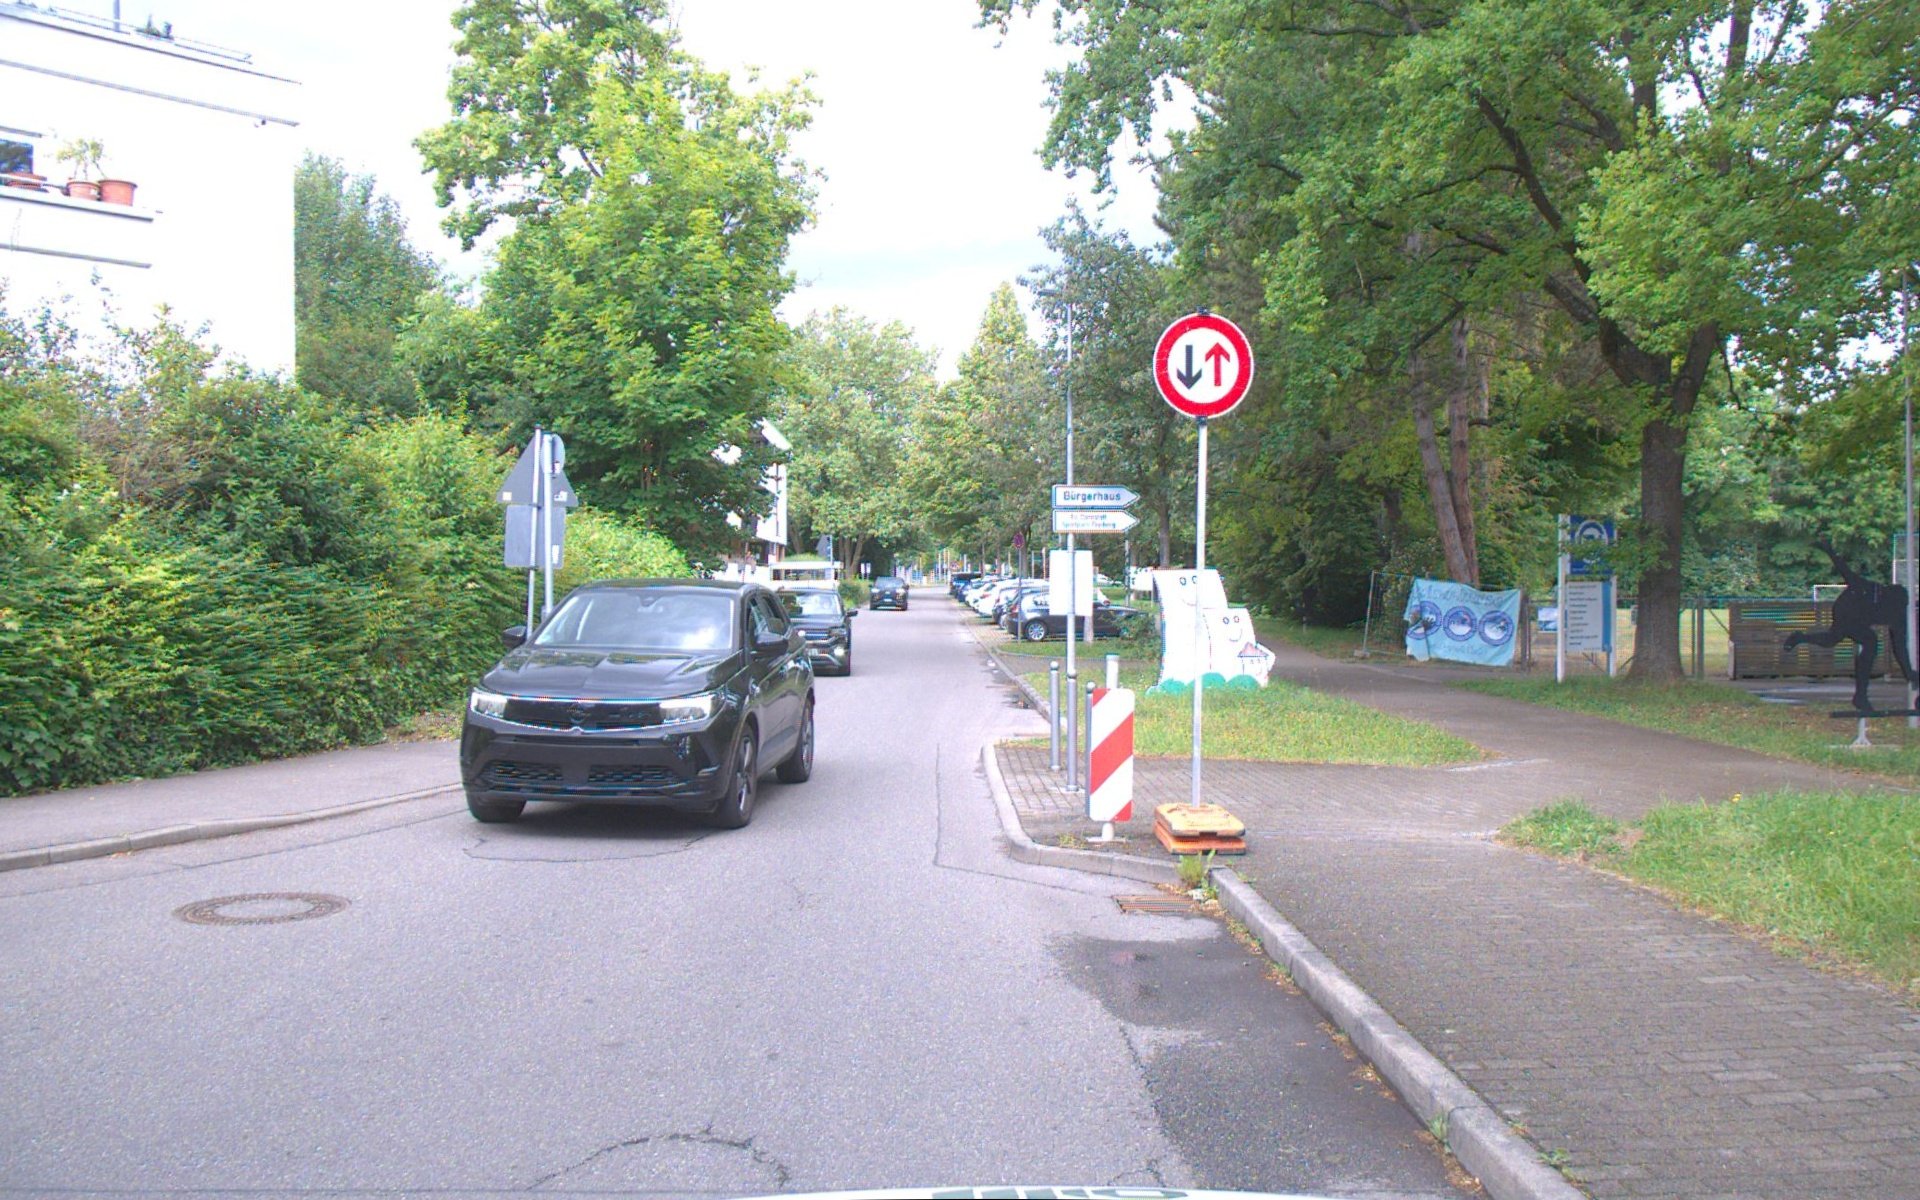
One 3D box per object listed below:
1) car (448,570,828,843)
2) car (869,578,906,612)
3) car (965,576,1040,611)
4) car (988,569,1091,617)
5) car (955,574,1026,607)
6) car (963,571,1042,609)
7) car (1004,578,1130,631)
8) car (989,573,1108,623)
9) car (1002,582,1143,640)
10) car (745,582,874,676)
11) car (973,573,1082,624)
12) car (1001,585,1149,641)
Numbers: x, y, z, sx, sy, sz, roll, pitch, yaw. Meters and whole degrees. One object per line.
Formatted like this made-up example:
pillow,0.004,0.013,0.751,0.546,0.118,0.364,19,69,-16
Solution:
car,-2.096,0.619,12.025,1.765,1.619,4.297,0,0,2
car,-3.902,-0.300,89.388,1.929,1.778,4.337,0,0,-2
car,2.409,-0.397,94.003,3.984,1.716,1.821,-4,1,-5
car,3.267,-0.297,68.574,3.984,1.716,1.821,-4,1,-5
car,1.814,-0.584,98.889,3.984,1.716,1.821,-4,1,-5
car,2.245,-0.544,88.173,3.984,1.716,1.821,-4,1,-5
car,3.489,0.124,54.407,3.981,1.595,1.822,-2,1,-2
car,3.163,-0.089,59.369,3.984,1.514,1.821,-4,1,-5
car,3.317,0.333,49.250,3.981,1.596,1.821,-2,-1,-2
car,-2.727,0.482,30.843,1.765,1.619,4.298,0,0,3
car,2.608,-0.076,64.640,3.984,1.716,1.821,-4,1,-5
car,3.221,0.382,46.847,3.981,1.459,1.999,-2,-1,-2
